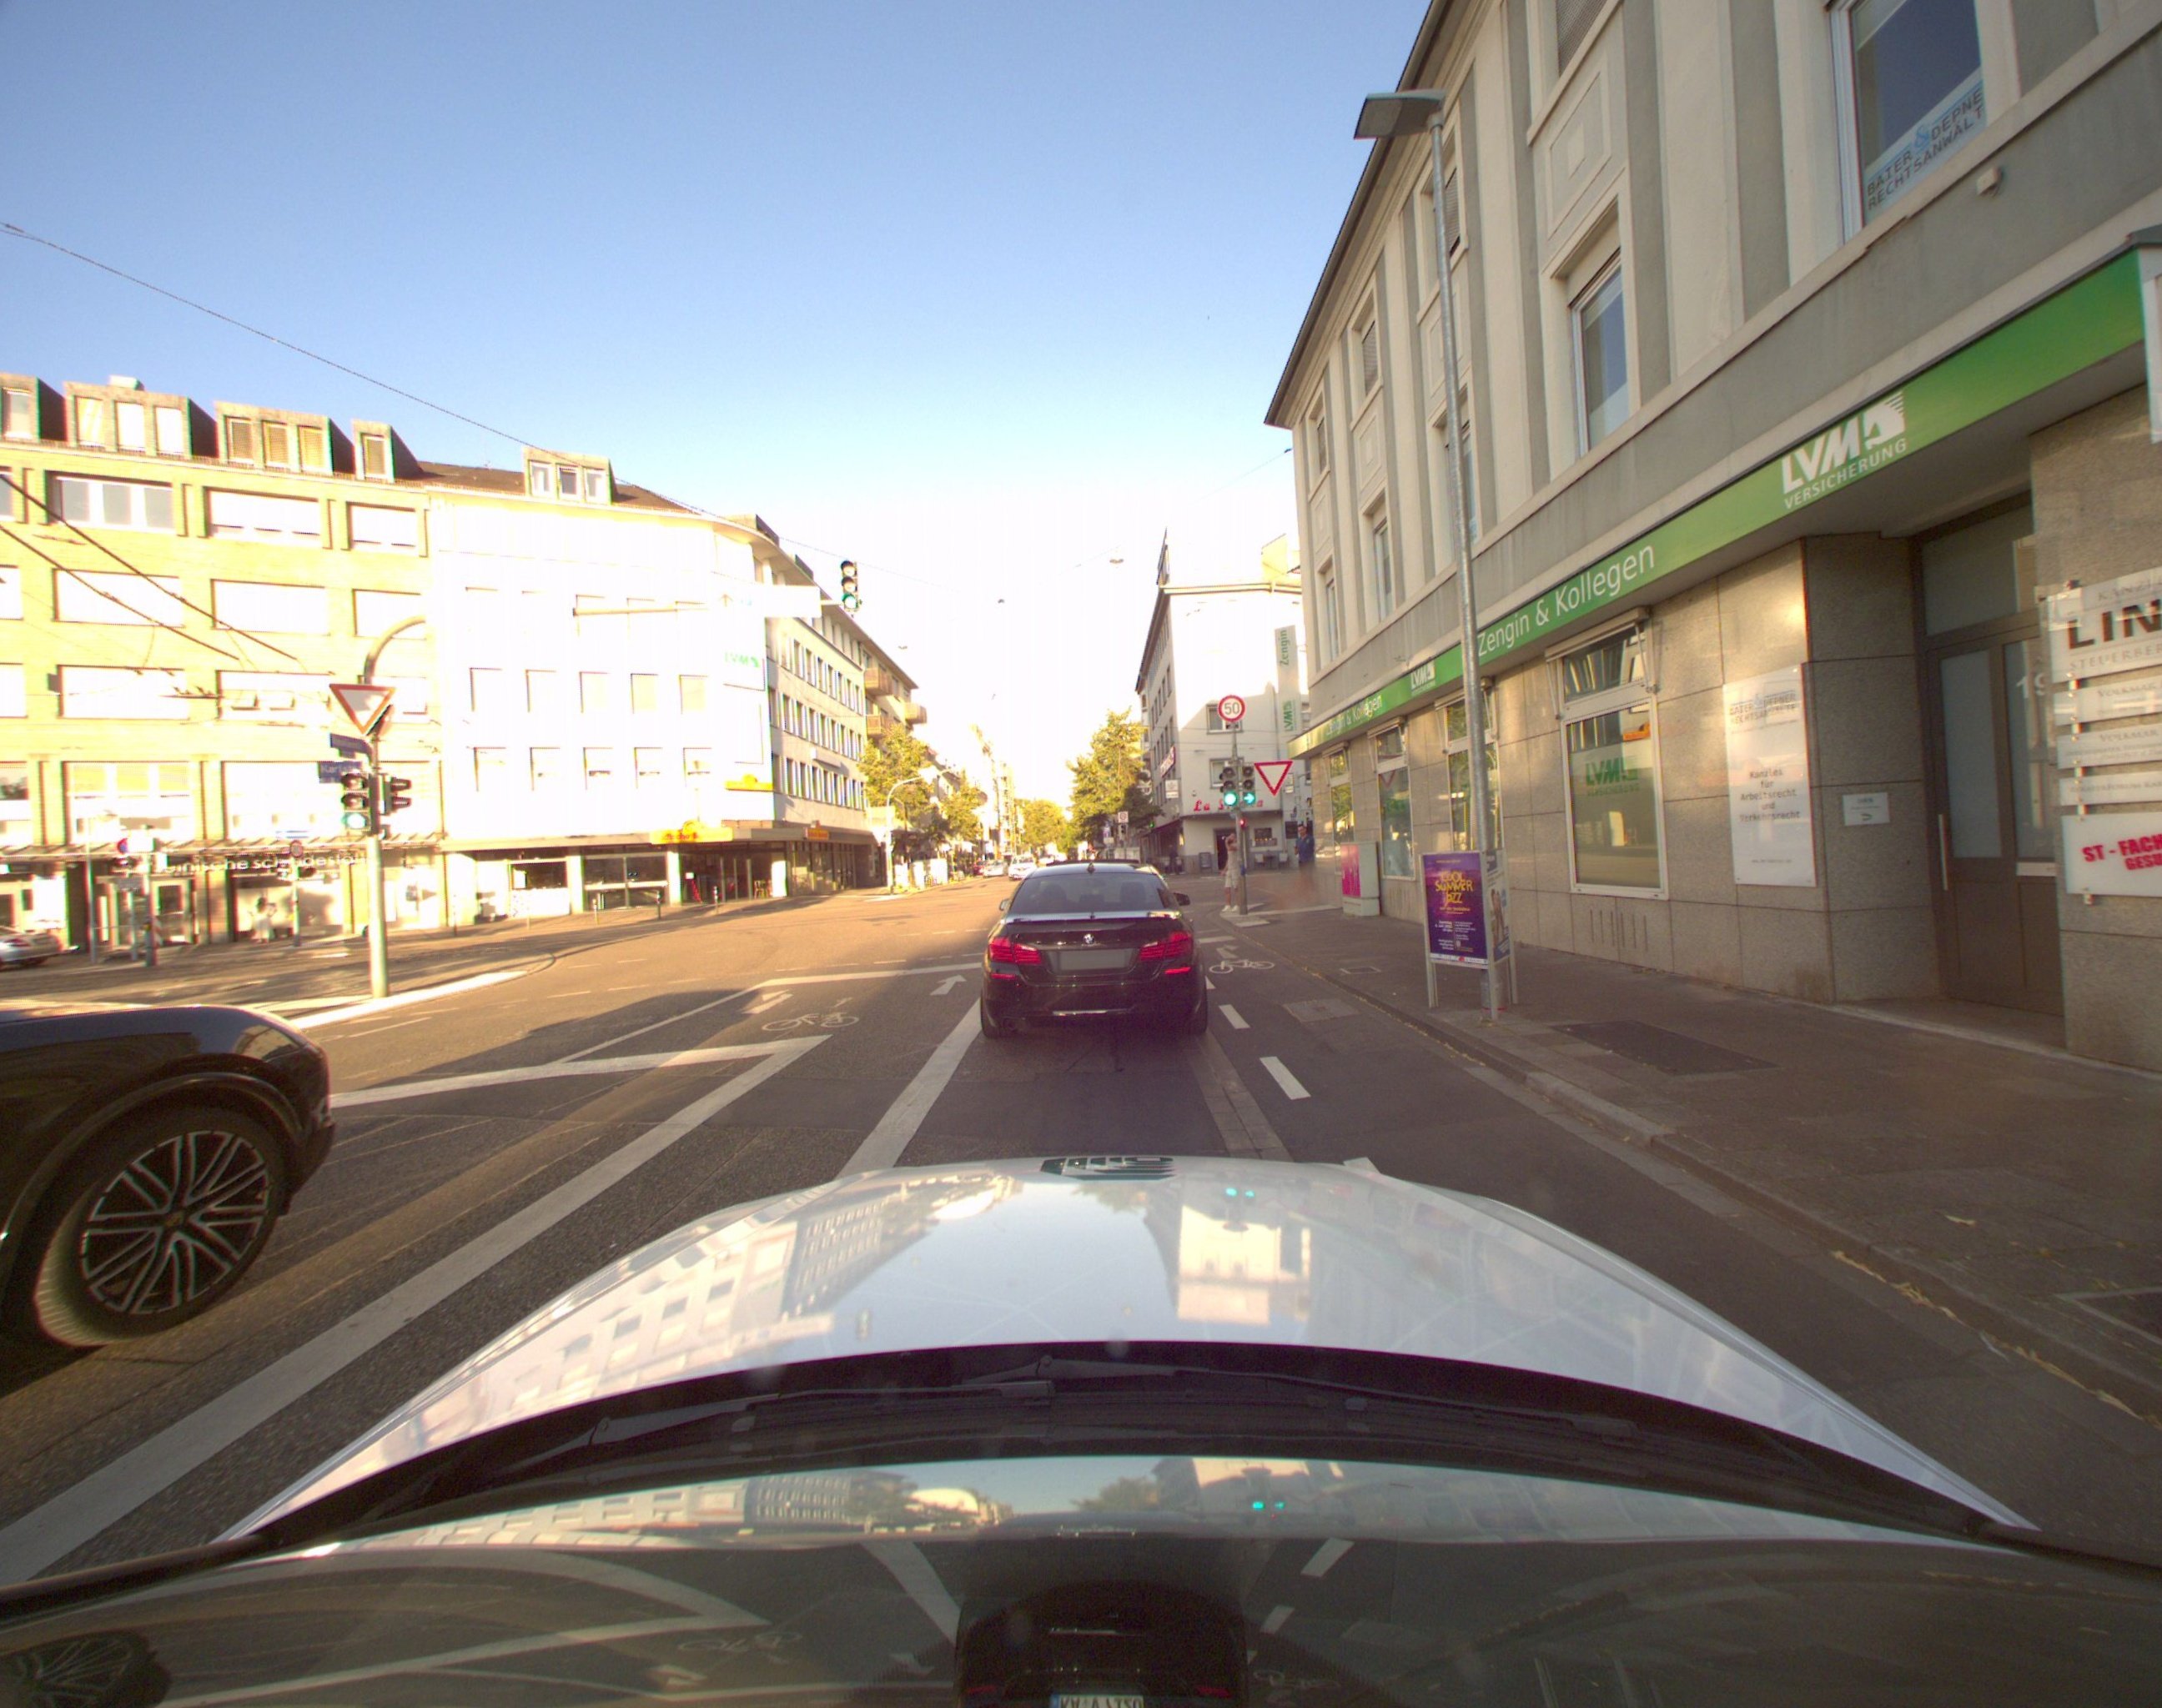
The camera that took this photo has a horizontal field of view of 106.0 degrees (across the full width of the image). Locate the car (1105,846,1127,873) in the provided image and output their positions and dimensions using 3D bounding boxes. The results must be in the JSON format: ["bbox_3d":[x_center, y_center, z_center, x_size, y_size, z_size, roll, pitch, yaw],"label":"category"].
[{"bbox_3d":[2.632,0.385,60.709,1.633,1.873,3.610,0,1,3],"label":"car"}]

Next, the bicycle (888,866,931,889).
[{"bbox_3d":[-9.936,1.357,47.206,2.362,1.253,0.639,-2,-1,-5],"label":"bicycle"}]

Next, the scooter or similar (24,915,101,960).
[{"bbox_3d":[-32.551,2.674,26.044,1.468,1.258,0.392,-4,1,-22],"label":"scooter or similar"}]

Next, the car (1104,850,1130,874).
[{"bbox_3d":[2.395,0.537,54.012,1.633,1.444,3.609,-3,0,3],"label":"car"}]

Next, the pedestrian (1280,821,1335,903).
[{"bbox_3d":[5.269,0.181,18.991,0.882,1.827,0.687,-4,-1,-24],"label":"pedestrian"}]

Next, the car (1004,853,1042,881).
[{"bbox_3d":[-3.578,0.818,50.903,2.102,1.556,4.010,-4,-1,-1],"label":"car"}]

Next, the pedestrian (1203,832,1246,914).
[{"bbox_3d":[3.173,0.413,18.073,0.651,1.742,0.692,-3,0,-8],"label":"pedestrian"}]

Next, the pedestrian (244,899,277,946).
[{"bbox_3d":[-27.702,2.294,27.497,0.628,1.471,0.537,-4,4,-39],"label":"pedestrian"}]

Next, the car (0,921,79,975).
[{"bbox_3d":[-30.856,2.730,22.591,3.393,1.253,1.625,-4,3,-23],"label":"car"}]

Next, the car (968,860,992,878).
[{"bbox_3d":[-9.724,1.416,78.533,1.829,1.556,3.777,-4,-1,-1],"label":"car"}]

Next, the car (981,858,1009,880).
[{"bbox_3d":[-6.948,1.224,66.120,1.829,1.556,3.777,-4,-1,-1],"label":"car"}]

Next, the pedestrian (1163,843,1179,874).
[{"bbox_3d":[5.006,0.238,45.186,0.709,1.676,0.703,-3,0,0],"label":"pedestrian"}]

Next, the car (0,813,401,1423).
[{"bbox_3d":[-3.959,0.771,1.285,1.794,1.698,4.570,-3,0,1],"label":"car"}]

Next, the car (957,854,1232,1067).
[{"bbox_3d":[0.157,0.768,8.065,1.946,1.498,4.466,-1,0,1],"label":"car"}]
